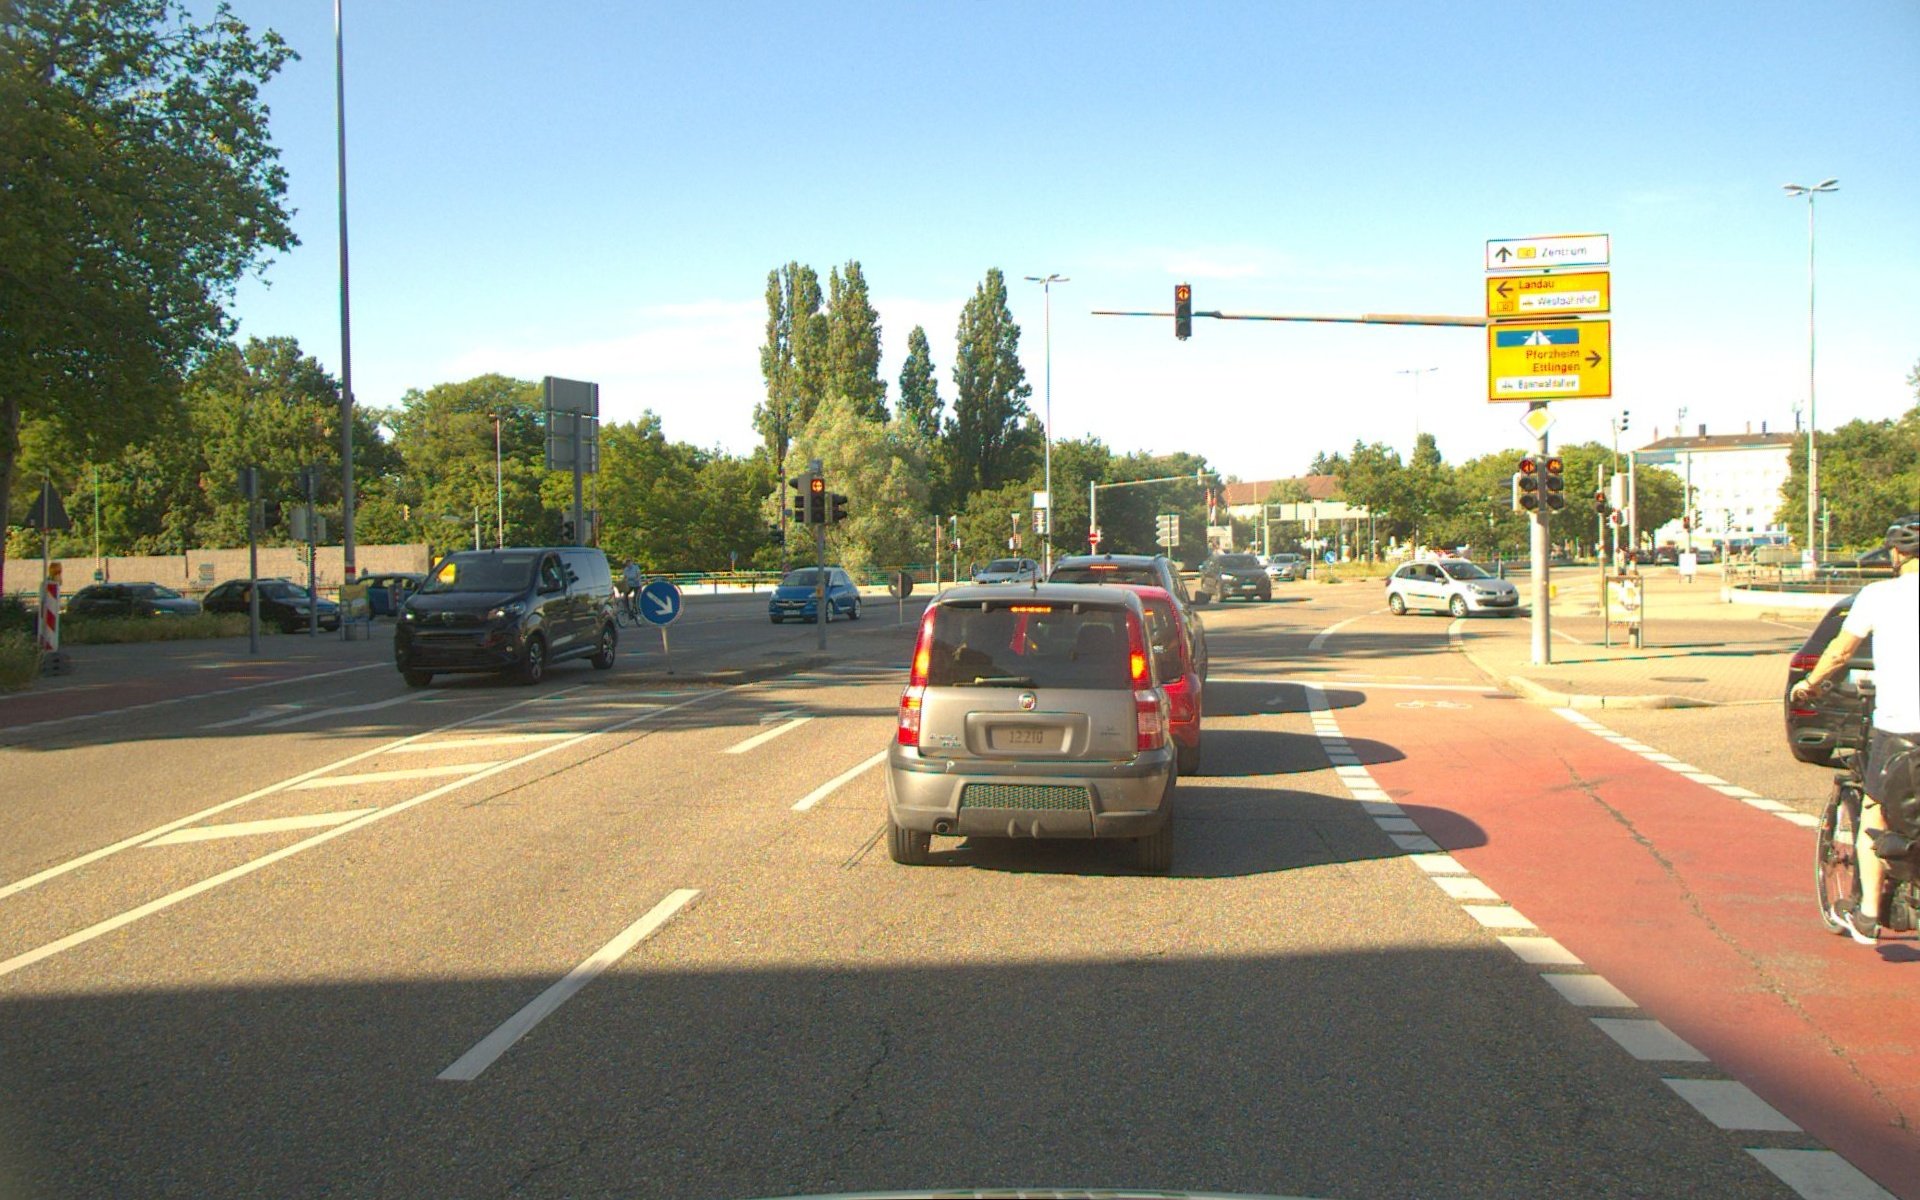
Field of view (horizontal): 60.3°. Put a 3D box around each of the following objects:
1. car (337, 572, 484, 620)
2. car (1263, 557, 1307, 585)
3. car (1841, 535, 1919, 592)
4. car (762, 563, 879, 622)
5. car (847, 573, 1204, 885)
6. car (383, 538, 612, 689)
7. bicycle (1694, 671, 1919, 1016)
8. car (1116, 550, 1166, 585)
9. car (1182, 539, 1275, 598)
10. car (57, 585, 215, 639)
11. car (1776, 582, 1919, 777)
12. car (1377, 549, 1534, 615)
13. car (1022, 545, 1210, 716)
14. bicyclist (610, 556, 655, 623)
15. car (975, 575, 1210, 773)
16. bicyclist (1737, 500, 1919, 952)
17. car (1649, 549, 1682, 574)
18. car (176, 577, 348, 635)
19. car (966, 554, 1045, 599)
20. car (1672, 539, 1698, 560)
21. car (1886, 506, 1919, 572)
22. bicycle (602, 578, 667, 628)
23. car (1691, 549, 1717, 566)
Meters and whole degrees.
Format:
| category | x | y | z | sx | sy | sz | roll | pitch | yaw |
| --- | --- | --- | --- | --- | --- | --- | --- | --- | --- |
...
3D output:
| category | x | y | z | sx | sy | sz | roll | pitch | yaw |
| --- | --- | --- | --- | --- | --- | --- | --- | --- | --- |
| car | -18.222 | -0.134 | 54.917 | 4.343 | 1.463 | 1.827 | -1 | 1 | 17 |
| car | 17.565 | -1.571 | 89.339 | 1.730 | 1.411 | 4.362 | -1 | 1 | 19 |
| car | 36.124 | -1.386 | 63.287 | 3.927 | 2.049 | 1.989 | -1 | -2 | 41 |
| car | -3.807 | -0.238 | 46.023 | 1.781 | 1.529 | 4.455 | -1 | 1 | 16 |
| car | 0.557 | 0.612 | 10.379 | 1.781 | 1.515 | 4.003 | 1 | 1 | 7 |
| car | -6.640 | 0.126 | 24.356 | 1.953 | 1.969 | 4.852 | -1 | 1 | 0 |
| bicycle | 3.858 | 0.915 | 6.738 | 0.782 | 1.130 | 2.403 | 1 | 0 | 3 |
| car | 9.126 | -1.615 | 83.171 | 1.651 | 1.482 | 3.914 | -1 | -2 | 20 |
| car | 9.339 | -1.064 | 57.820 | 1.957 | 1.868 | 4.350 | 0 | -1 | -9 |
| car | -24.229 | 0.359 | 48.619 | 4.348 | 1.463 | 1.825 | -1 | 1 | 25 |
| car | 8.910 | 0.633 | 14.533 | 3.964 | 1.519 | 1.731 | 0 | 1 | -41 |
| car | 13.024 | -0.485 | 43.697 | 1.796 | 1.610 | 4.074 | -2 | 1 | -23 |
| car | 2.012 | 0.273 | 20.097 | 1.829 | 1.821 | 4.418 | 1 | 1 | 11 |
| bicyclist | -8.672 | -0.279 | 43.846 | 0.672 | 1.730 | 1.199 | -1 | 2 | 16 |
| car | 1.208 | 0.545 | 14.674 | 1.781 | 1.505 | 4.003 | 0 | 1 | 6 |
| bicyclist | 3.870 | 0.485 | 6.894 | 0.782 | 1.735 | 1.086 | 1 | 0 | 3 |
| car | 58.029 | -3.150 | 135.958 | 1.957 | 1.825 | 3.990 | -1 | -1 | 31 |
| car | -19.003 | 0.157 | 45.003 | 4.348 | 1.463 | 1.825 | -1 | 1 | 25 |
| car | 1.831 | -0.953 | 65.014 | 1.795 | 1.682 | 4.631 | -1 | 1 | 19 |
| car | 67.090 | -4.672 | 152.998 | 1.955 | 1.825 | 3.996 | -1 | 1 | 27 |
| car | 41.617 | -2.596 | 68.943 | 2.241 | 2.653 | 4.814 | 1 | -2 | -40 |
| bicycle | -8.633 | 0.066 | 43.963 | 0.672 | 1.223 | 2.329 | -1 | 2 | 16 |
| car | 76.934 | -4.440 | 171.026 | 1.957 | 1.668 | 3.992 | -1 | 1 | 30 |
